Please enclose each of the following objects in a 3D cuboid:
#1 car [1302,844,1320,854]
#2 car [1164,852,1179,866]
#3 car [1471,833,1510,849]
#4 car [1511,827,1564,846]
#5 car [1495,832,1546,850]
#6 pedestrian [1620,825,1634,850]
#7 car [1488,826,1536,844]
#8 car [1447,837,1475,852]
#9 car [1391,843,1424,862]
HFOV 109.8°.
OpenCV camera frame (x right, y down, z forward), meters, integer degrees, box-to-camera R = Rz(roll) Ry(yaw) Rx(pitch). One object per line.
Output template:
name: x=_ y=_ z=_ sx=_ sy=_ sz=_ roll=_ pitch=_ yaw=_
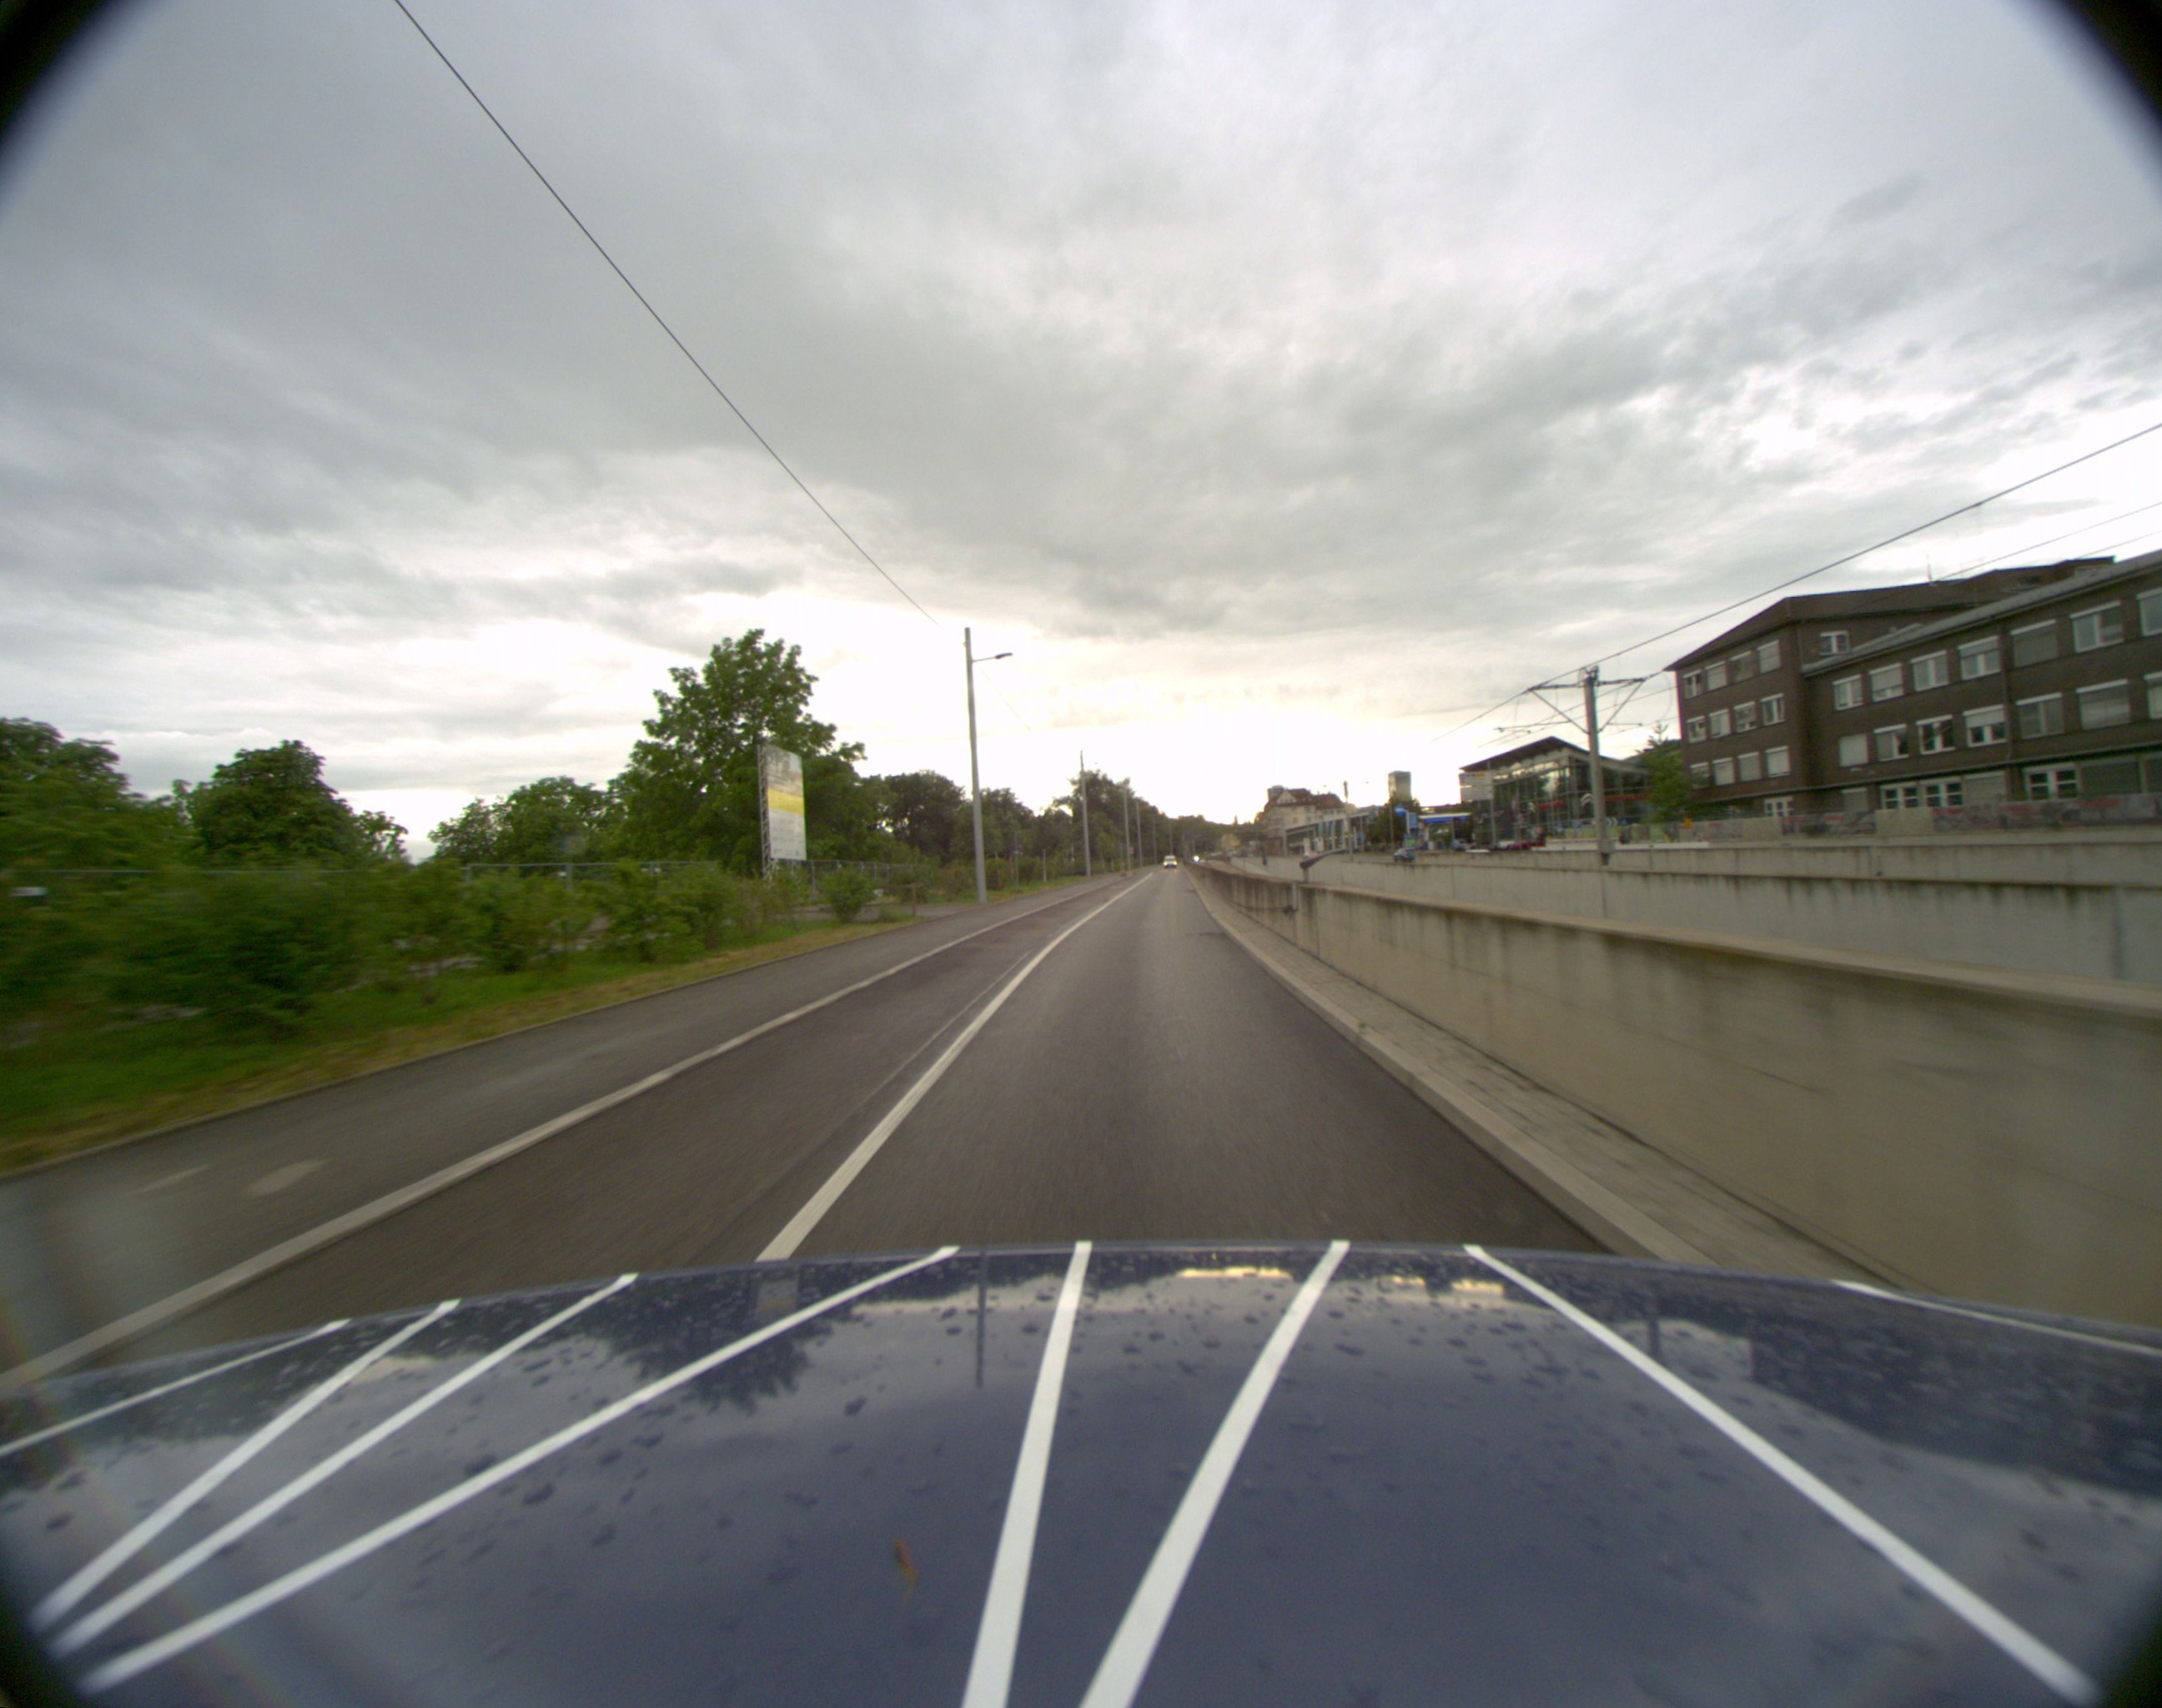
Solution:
car: x=42.381 y=-0.882 z=140.242 sx=2.118 sy=1.705 sz=4.582 roll=-3 pitch=0 yaw=5
car: x=13.032 y=0.694 z=109.533 sx=1.997 sy=2.002 sz=4.002 roll=-2 pitch=0 yaw=7
car: x=52.758 y=-1.691 z=97.922 sx=3.995 sy=1.761 sz=2.001 roll=-3 pitch=0 yaw=7
car: x=51.083 y=-1.952 z=85.038 sx=4.574 sy=1.750 sz=2.001 roll=-3 pitch=0 yaw=6
car: x=50.718 y=-1.471 z=87.735 sx=4.574 sy=1.750 sz=2.001 roll=-3 pitch=0 yaw=6
pedestrian: x=44.285 y=-1.307 z=61.602 sx=0.581 sy=2.002 sz=0.728 roll=-2 pitch=1 yaw=-30
car: x=51.169 y=-2.233 z=90.281 sx=4.574 sy=1.750 sz=2.001 roll=-3 pitch=0 yaw=6
car: x=51.527 y=-1.268 z=102.985 sx=1.998 sy=1.761 sz=4.002 roll=-3 pitch=0 yaw=5
car: x=36.119 y=-0.129 z=84.137 sx=1.998 sy=2.002 sz=4.001 roll=-2 pitch=0 yaw=3
